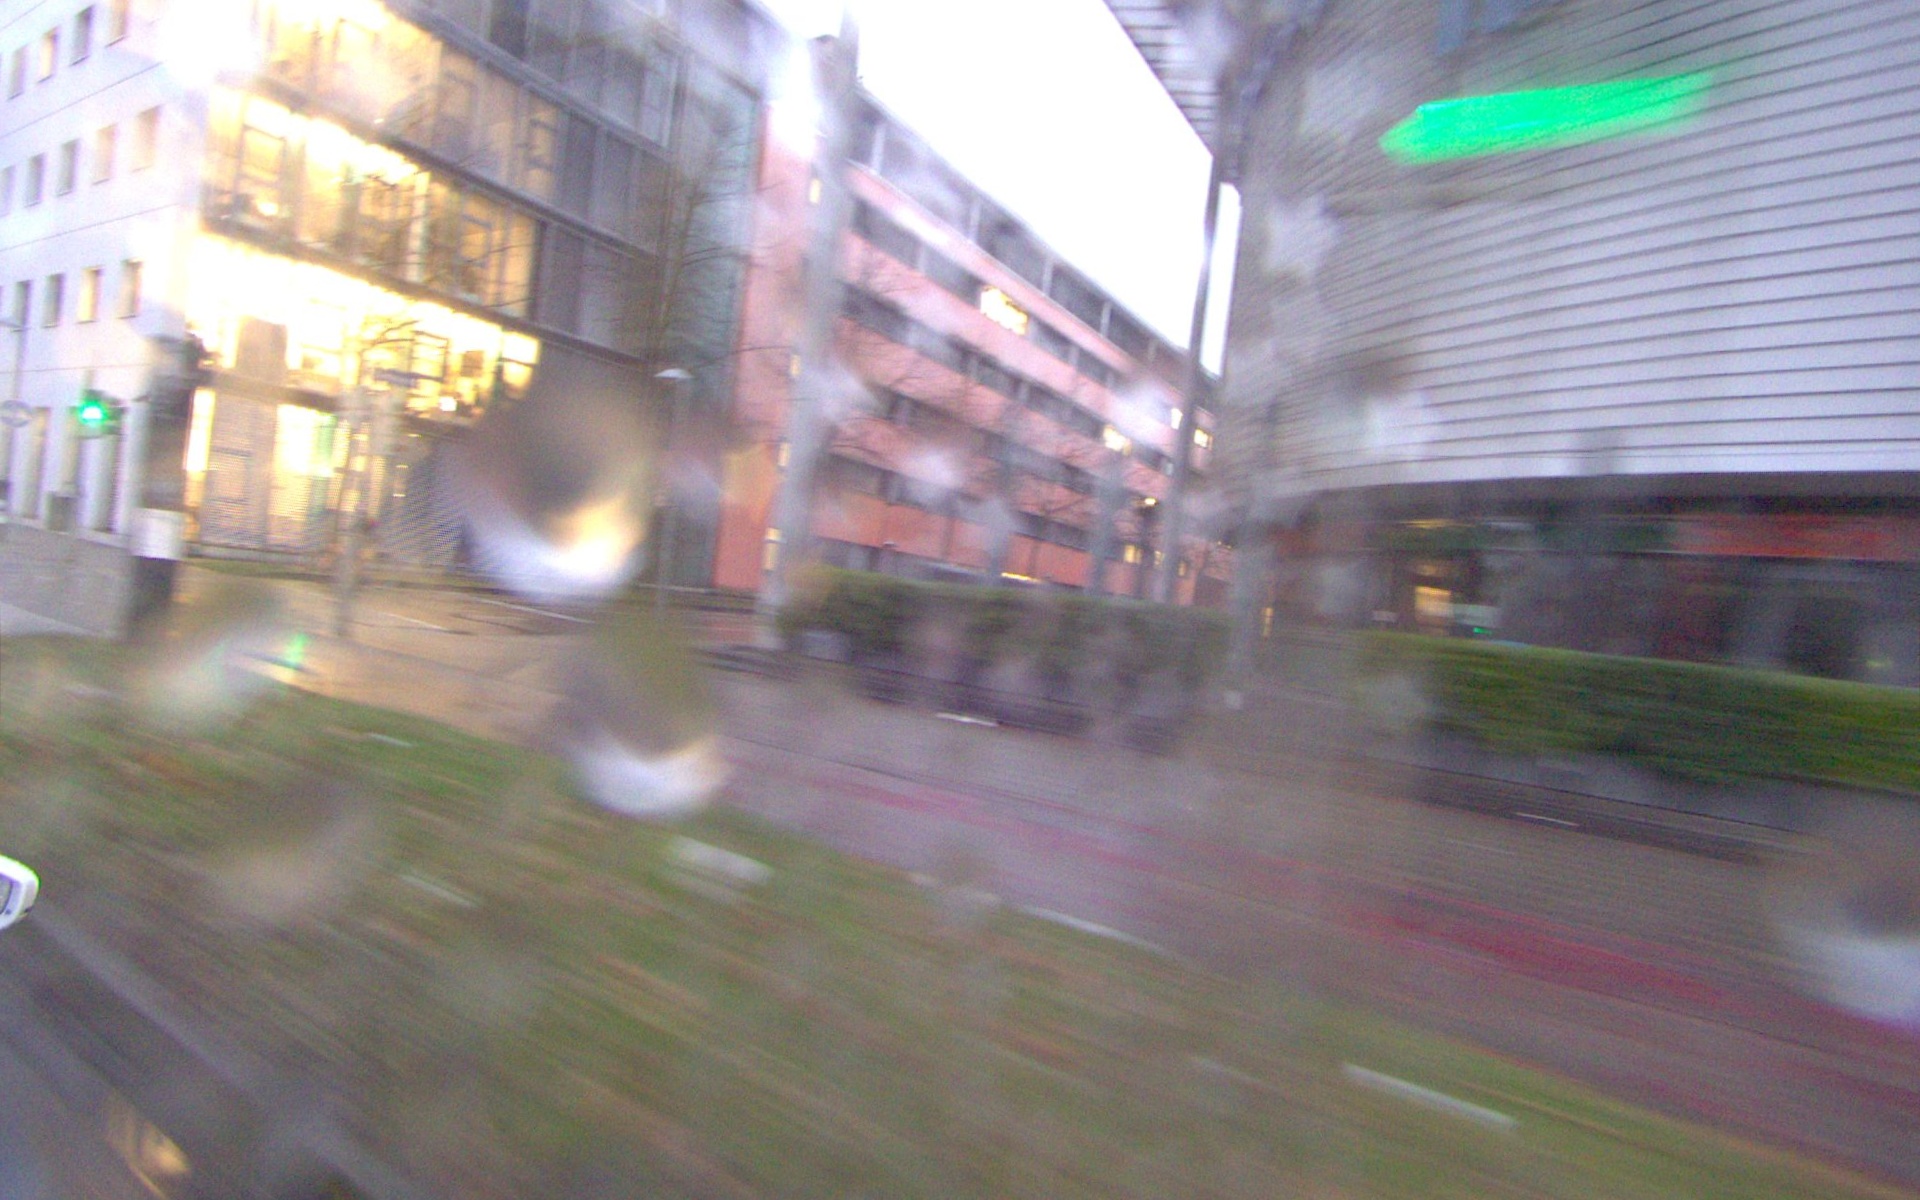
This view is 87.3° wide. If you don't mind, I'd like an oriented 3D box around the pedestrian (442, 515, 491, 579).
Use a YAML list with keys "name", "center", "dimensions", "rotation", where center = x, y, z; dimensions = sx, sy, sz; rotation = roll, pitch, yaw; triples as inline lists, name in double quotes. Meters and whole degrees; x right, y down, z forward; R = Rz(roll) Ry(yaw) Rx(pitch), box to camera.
- name: "pedestrian"
  center: [-13.996, -1.493, 28.546]
  dimensions: [0.715, 1.673, 0.808]
  rotation: [7, -1, 34]

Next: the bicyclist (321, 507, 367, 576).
- name: "bicyclist"
  center: [-13.085, -1.235, 21.378]
  dimensions: [0.616, 1.346, 0.562]
  rotation: [8, -1, -25]

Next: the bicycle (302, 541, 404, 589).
- name: "bicycle"
  center: [-12.922, -0.731, 21.469]
  dimensions: [1.712, 0.754, 0.648]
  rotation: [9, -1, -24]
